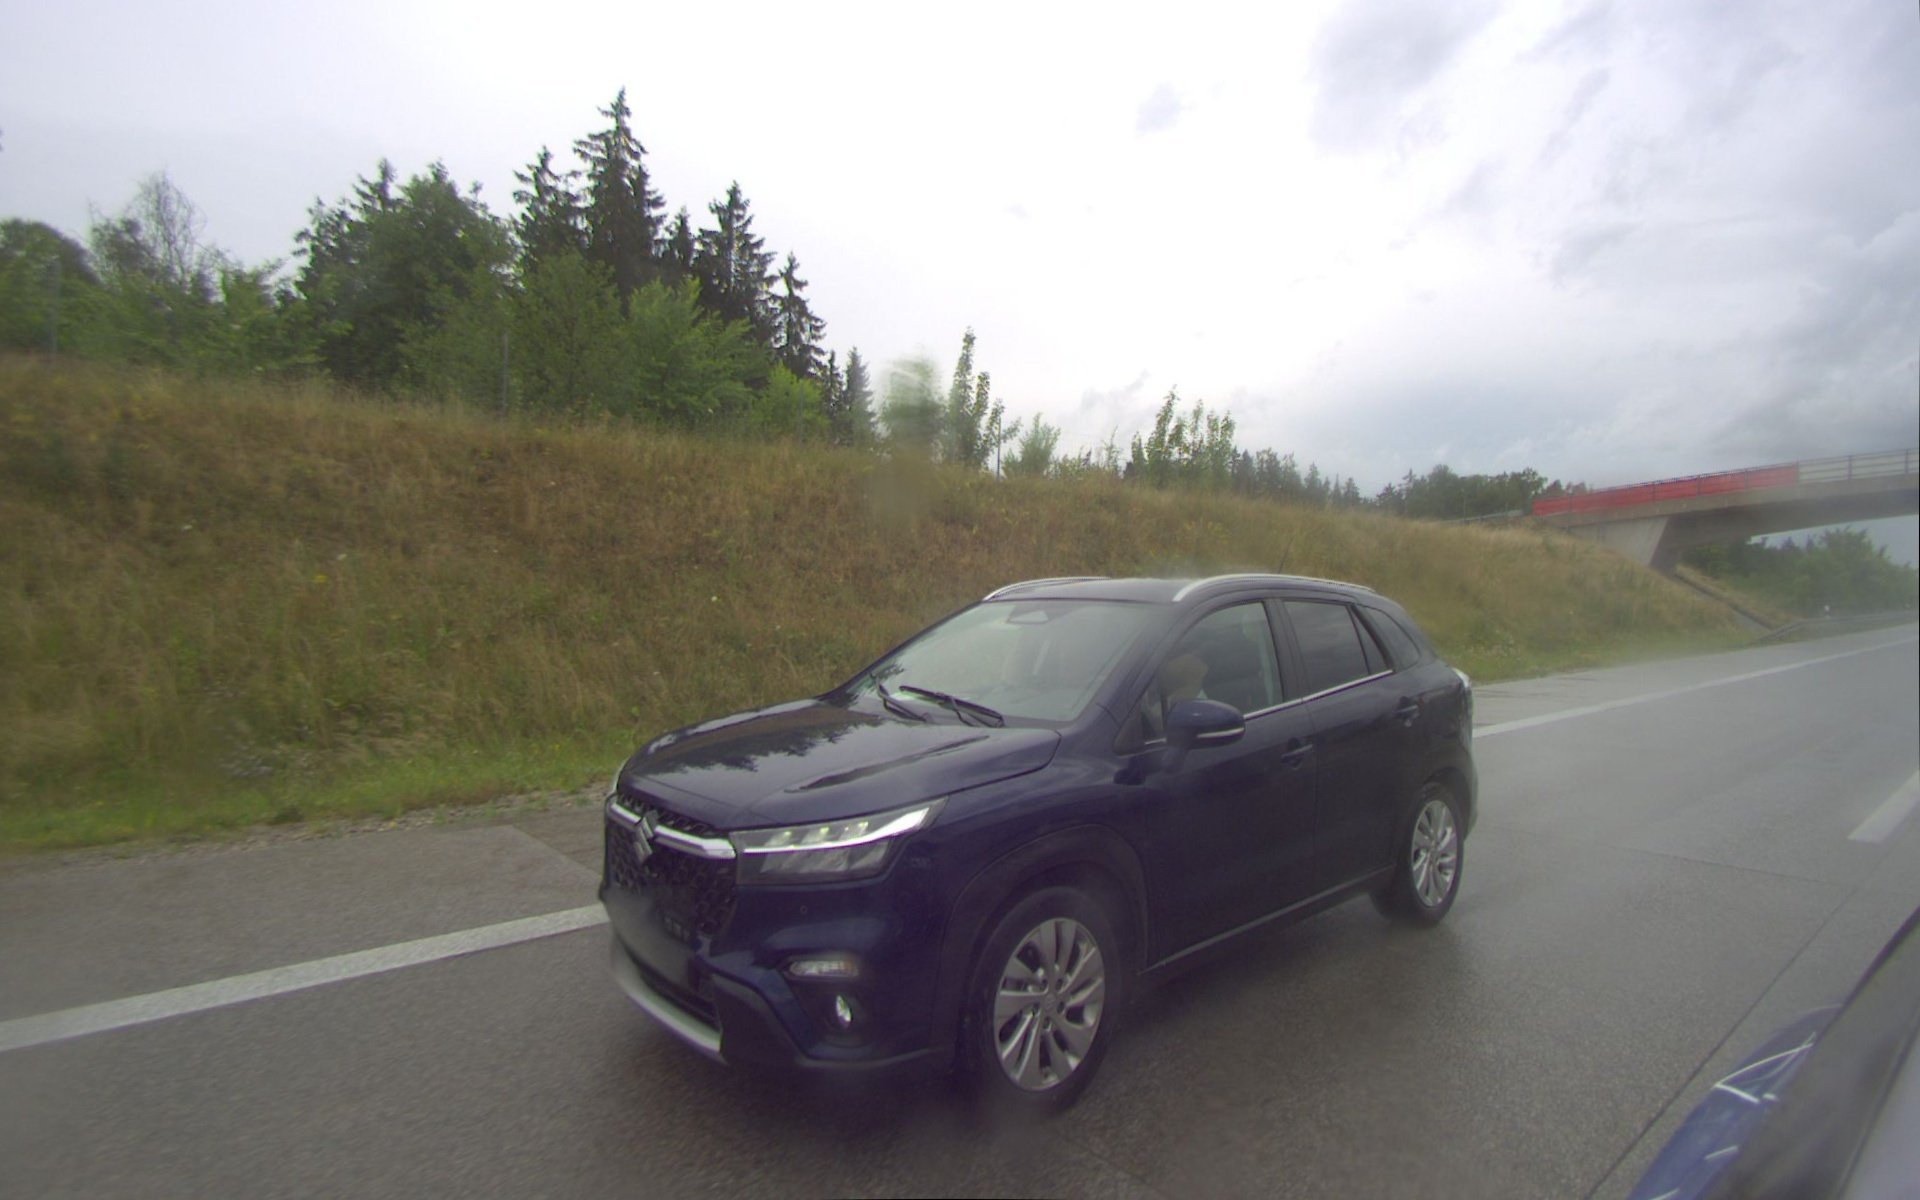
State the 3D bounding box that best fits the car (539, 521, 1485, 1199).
[{"bbox_3d":[0.428,0.626,4.142,3.568,1.596,1.897,0,0,-41],"label":"car"}]
